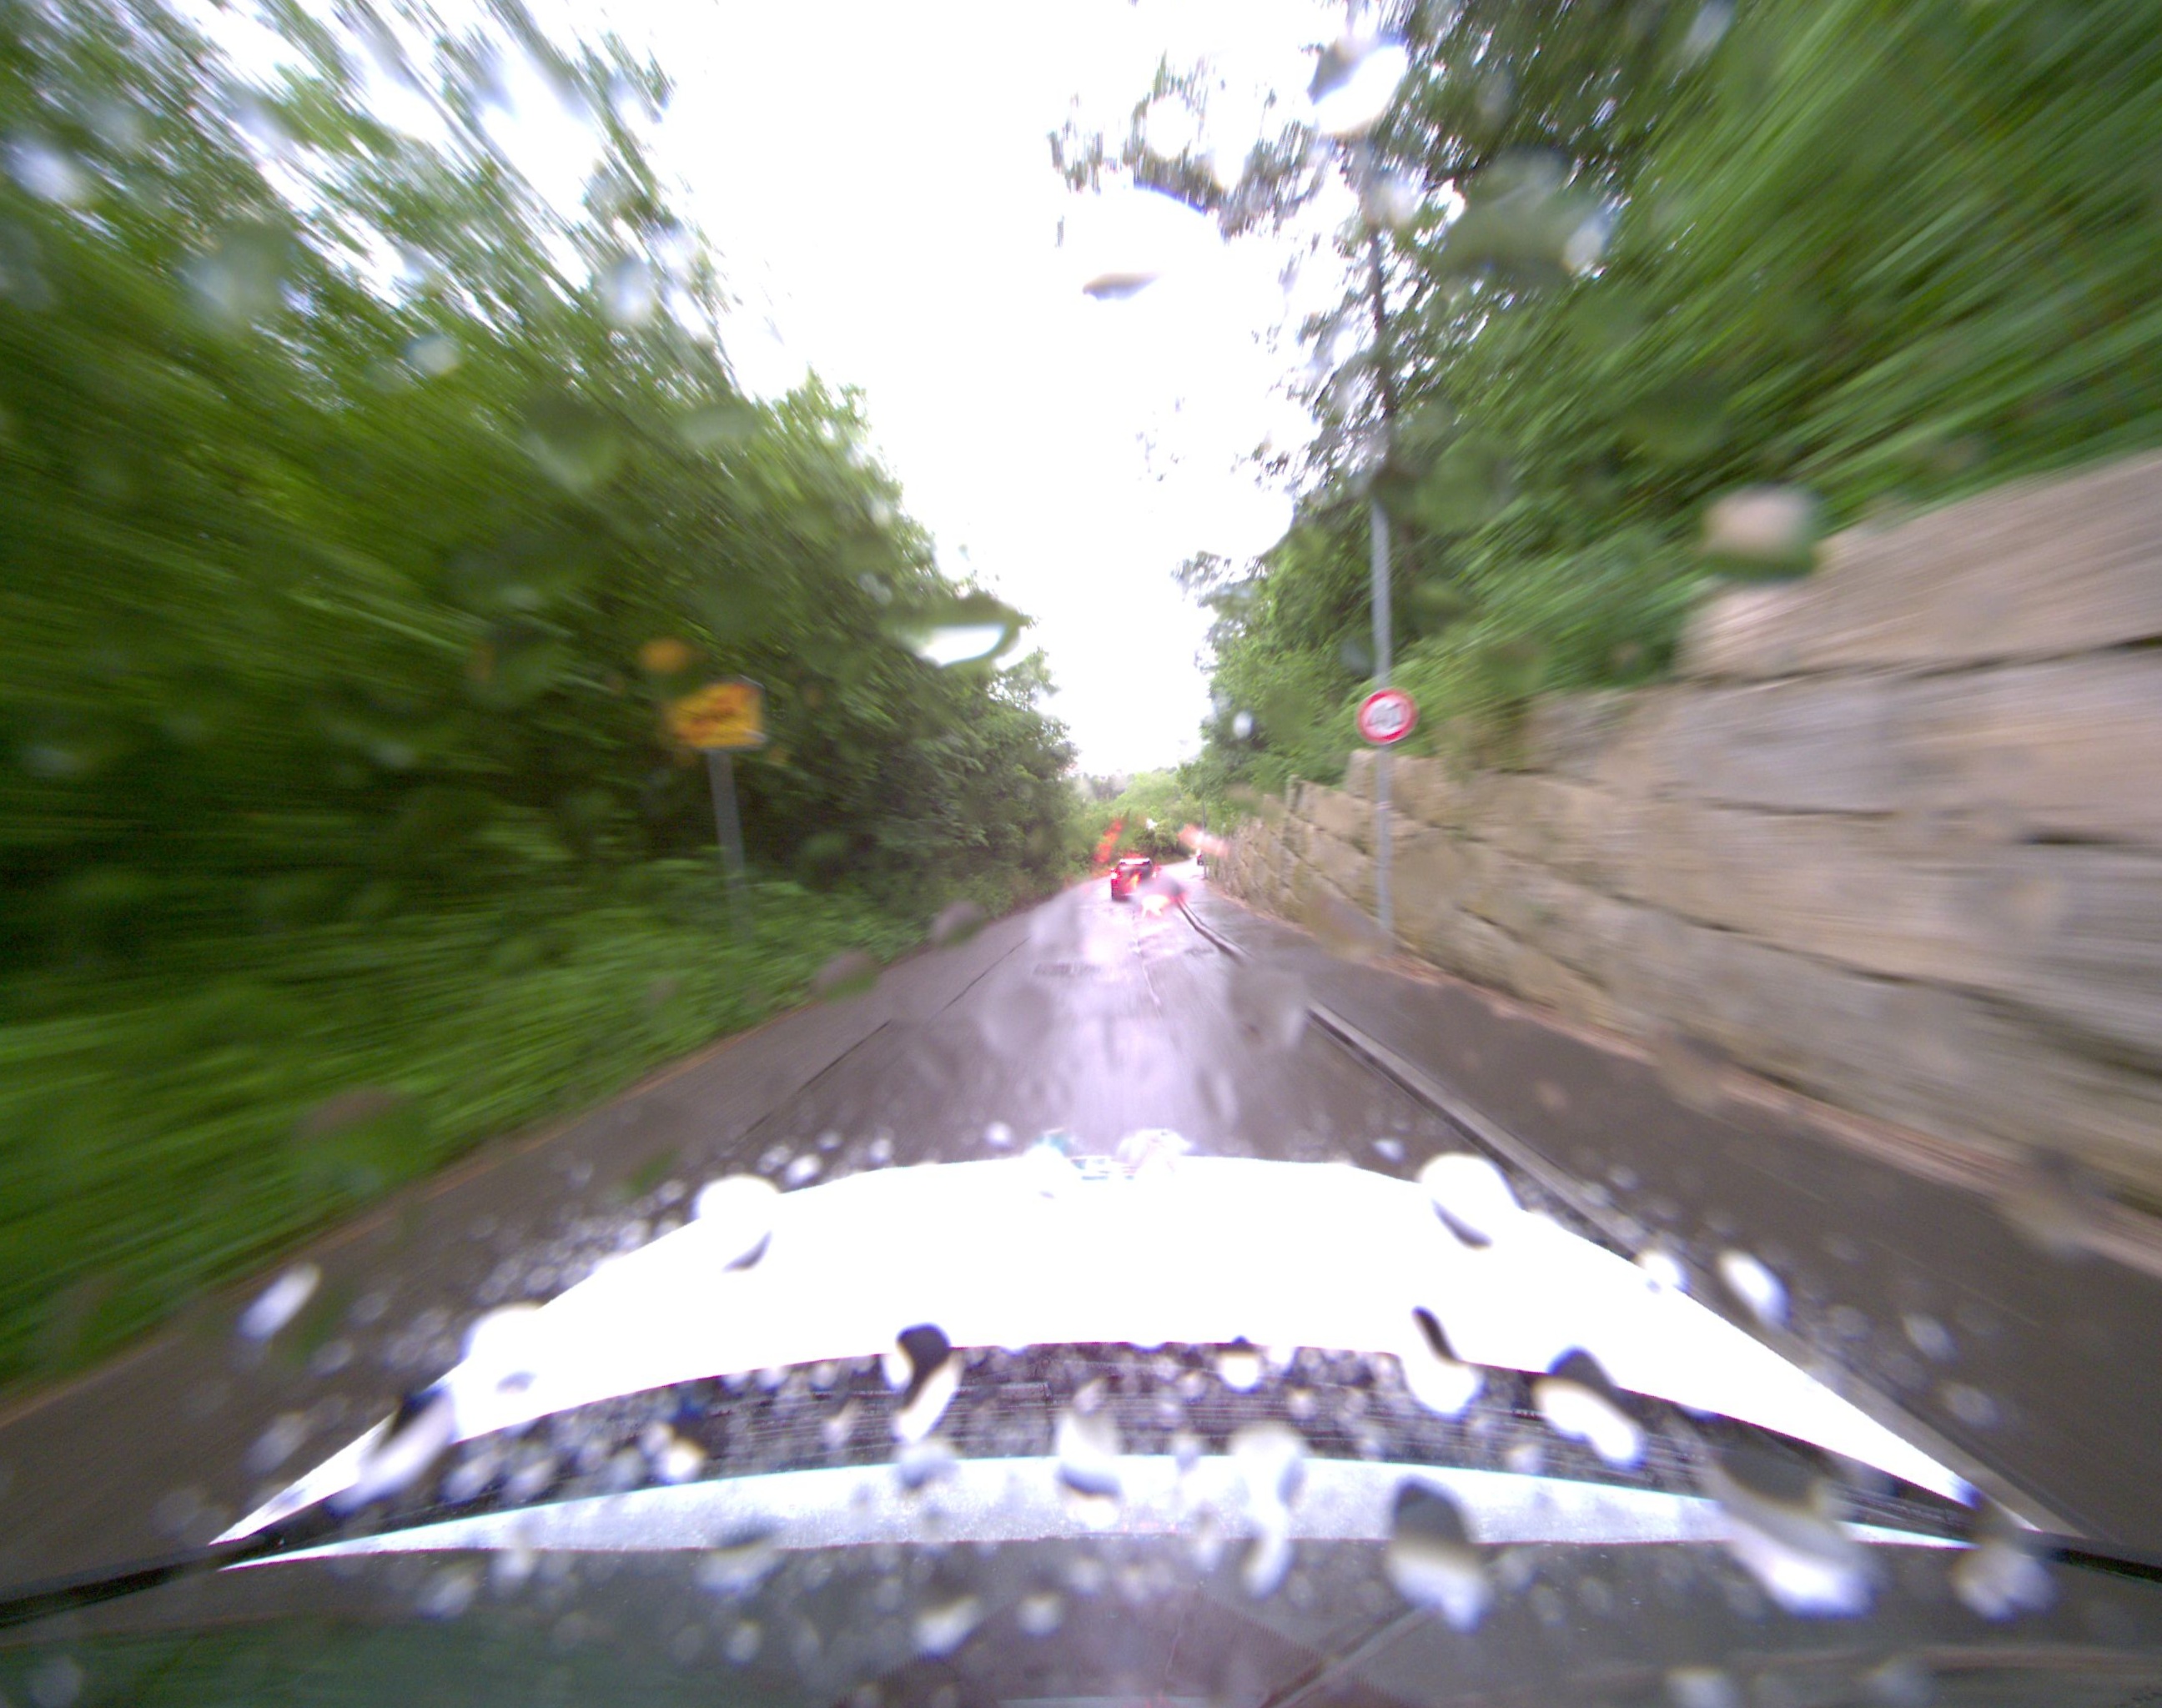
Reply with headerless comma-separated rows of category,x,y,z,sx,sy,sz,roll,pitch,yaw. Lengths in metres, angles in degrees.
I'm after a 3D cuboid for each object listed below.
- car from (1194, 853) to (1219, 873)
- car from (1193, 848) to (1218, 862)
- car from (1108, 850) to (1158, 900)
car,11.760,0.810,76.226,1.849,1.743,4.017,0,0,16
car,13.935,0.127,91.229,1.925,1.522,4.601,0,0,19
car,1.955,0.719,30.472,1.692,1.449,4.006,-2,4,4
